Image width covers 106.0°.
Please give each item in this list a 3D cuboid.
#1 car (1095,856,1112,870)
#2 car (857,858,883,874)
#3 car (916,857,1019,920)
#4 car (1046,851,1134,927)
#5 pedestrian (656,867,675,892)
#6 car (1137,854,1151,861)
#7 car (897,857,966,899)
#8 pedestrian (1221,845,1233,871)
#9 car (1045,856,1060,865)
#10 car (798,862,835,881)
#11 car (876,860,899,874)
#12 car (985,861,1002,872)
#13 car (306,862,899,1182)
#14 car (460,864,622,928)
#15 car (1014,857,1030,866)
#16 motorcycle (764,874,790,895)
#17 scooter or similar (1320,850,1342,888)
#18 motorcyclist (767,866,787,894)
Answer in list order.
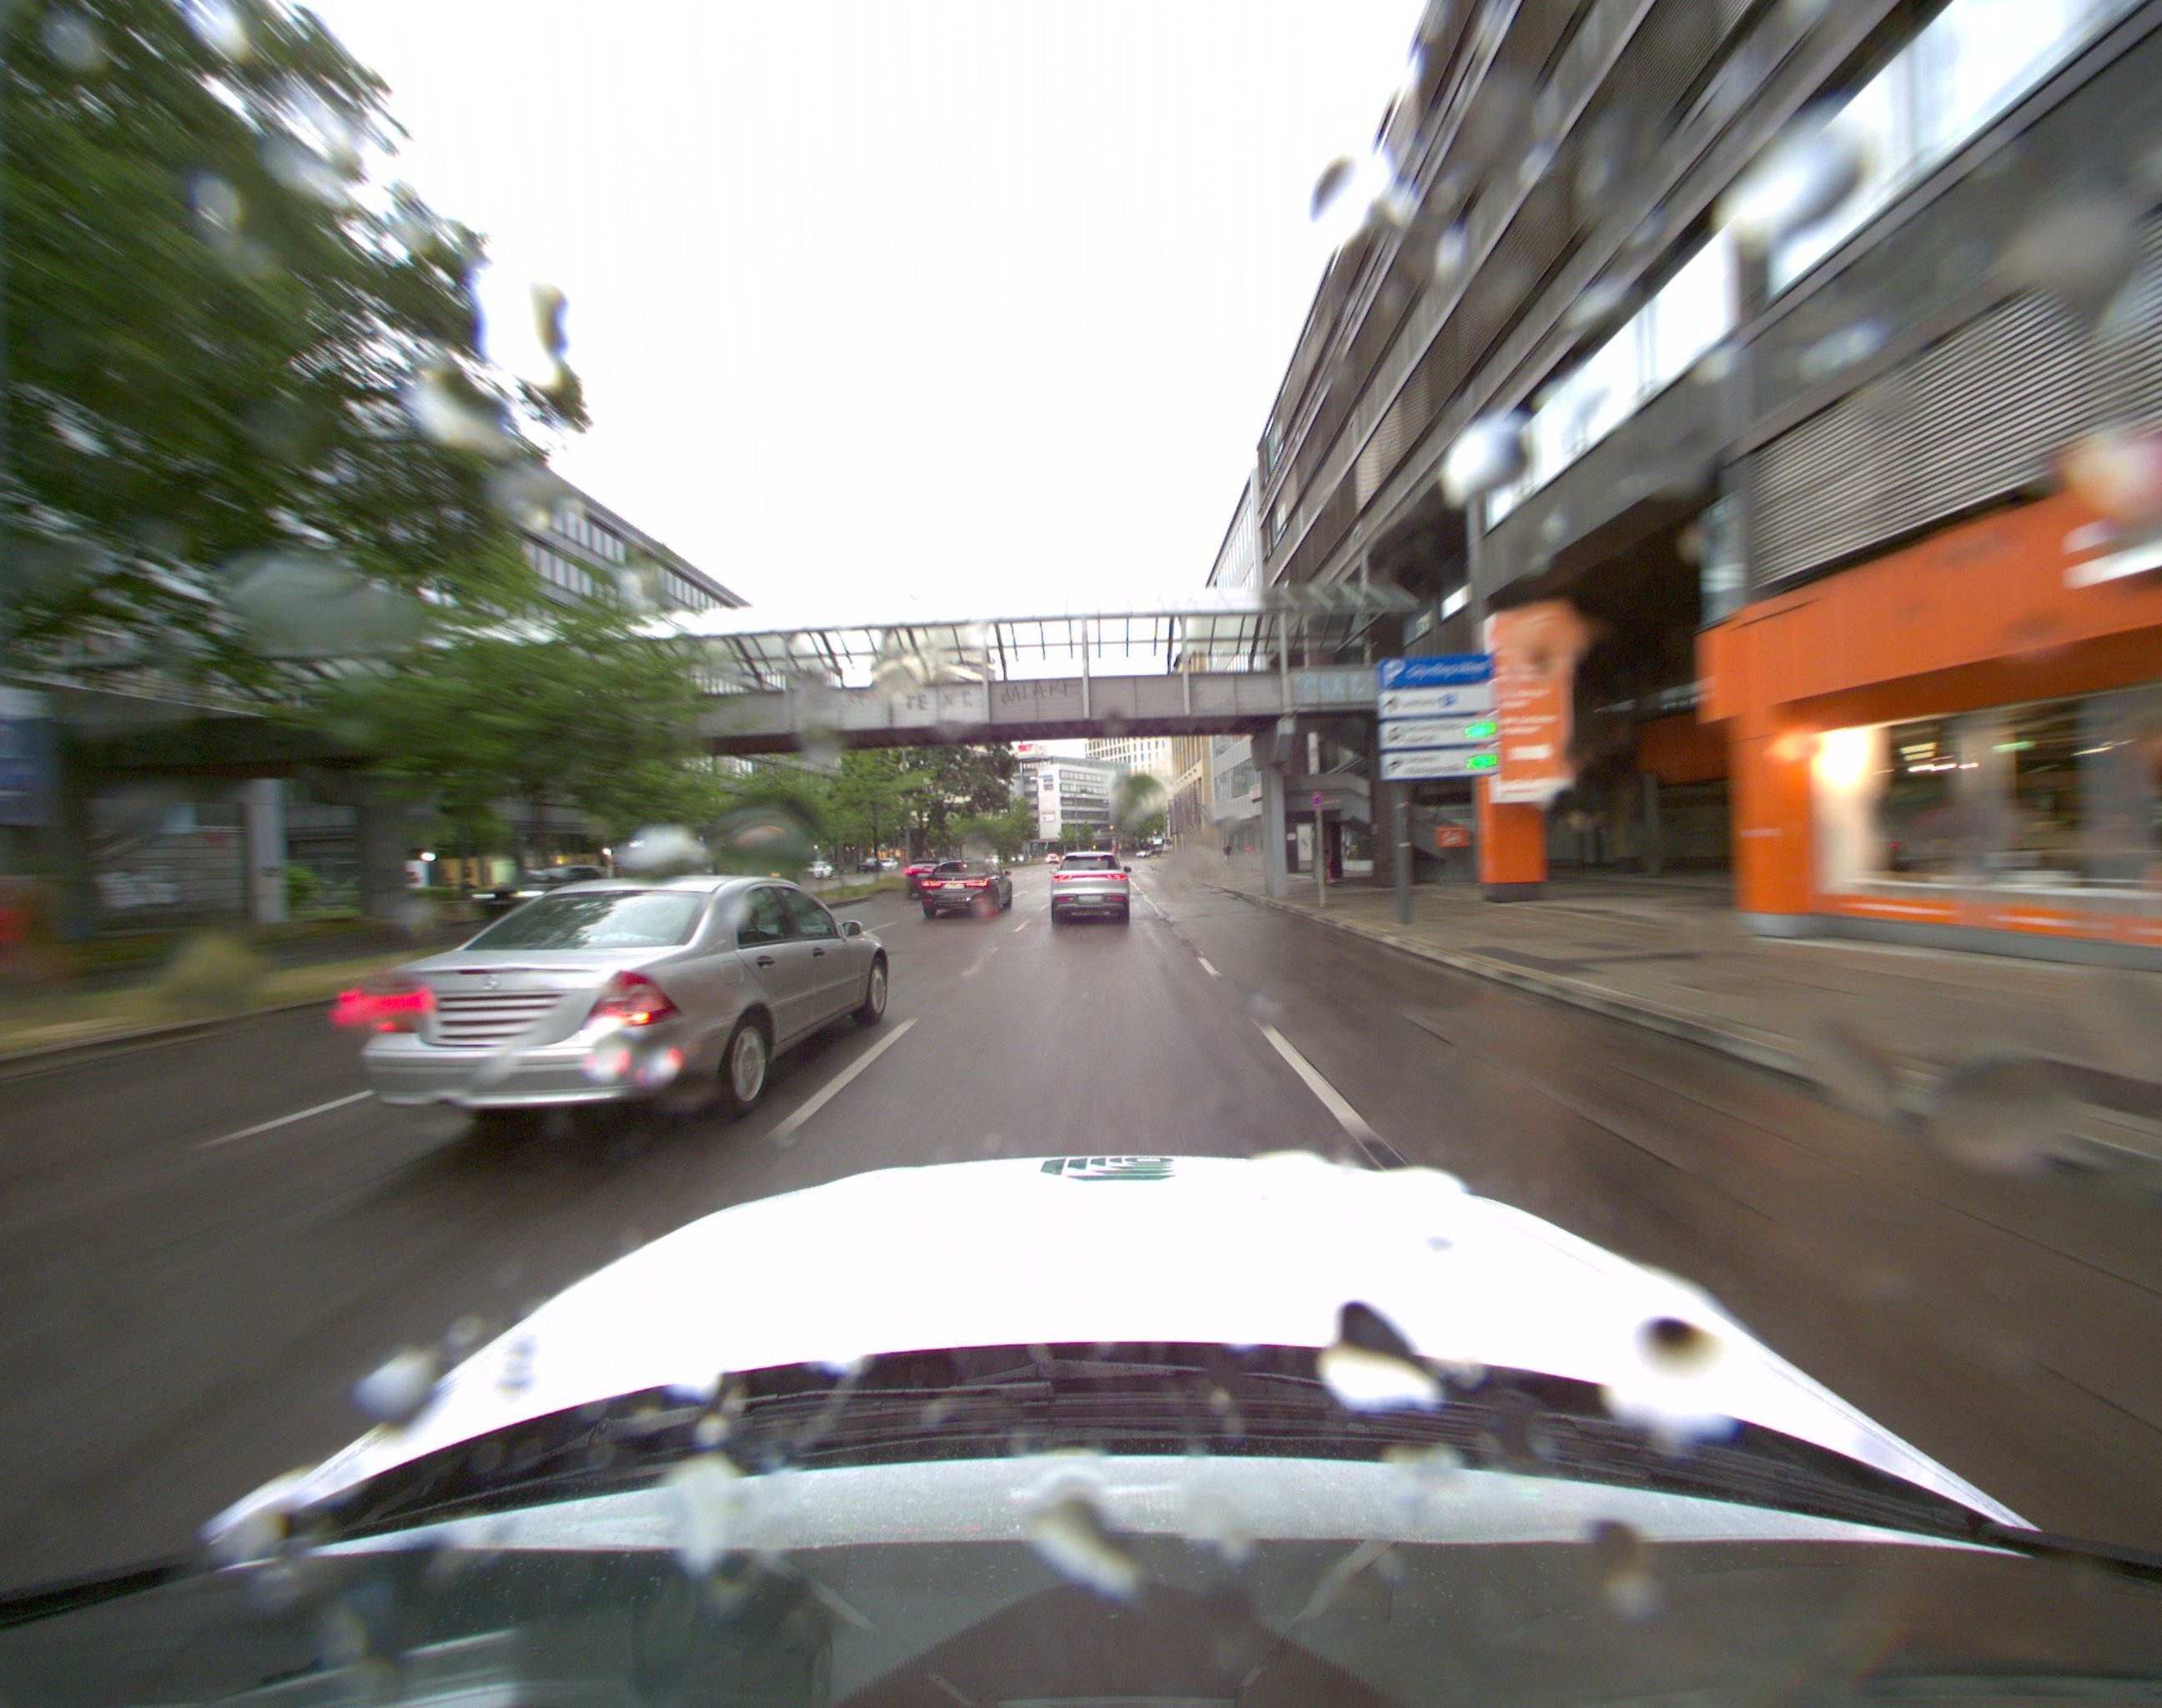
[{"bbox_3d":[2.844,1.123,101.297,1.803,1.578,4.006,-2,0,5],"label":"car"},{"bbox_3d":[-22.023,1.202,85.235,1.618,1.611,4.231,-1,0,0],"label":"car"},{"bbox_3d":[-2.987,0.901,22.504,1.864,1.479,4.881,-3,-1,3],"label":"car"},{"bbox_3d":[0.252,0.778,19.867,1.894,1.621,4.001,-1,0,1],"label":"car"},{"bbox_3d":[-29.387,1.777,57.616,0.740,1.715,1.057,-2,0,1],"label":"pedestrian"},{"bbox_3d":[14.612,0.769,189.920,1.565,1.538,4.025,-2,0,32],"label":"car"},{"bbox_3d":[-5.682,0.898,31.370,1.767,1.457,4.001,-2,-1,2],"label":"car"},{"bbox_3d":[10.068,0.305,56.226,0.633,1.772,0.790,-2,-1,2],"label":"pedestrian"},{"bbox_3d":[-4.274,0.946,123.079,1.654,1.342,3.985,-2,0,-11],"label":"car"},{"bbox_3d":[-22.275,1.464,68.697,1.618,1.432,4.444,-2,-1,0],"label":"car"},{"bbox_3d":[-21.768,1.437,91.612,1.618,1.460,3.962,-1,0,0],"label":"car"},{"bbox_3d":[-13.575,1.932,125.919,1.615,1.492,4.315,-2,-1,7],"label":"car"},{"bbox_3d":[-2.750,0.815,6.015,1.666,1.479,4.362,-1,-1,2],"label":"car"},{"bbox_3d":[-18.384,1.347,28.113,1.994,1.768,5.184,-5,0,-1],"label":"car"},{"bbox_3d":[-10.181,1.289,141.721,1.612,1.453,4.176,-2,-1,12],"label":"car"},{"bbox_3d":[-16.122,1.632,43.245,0.582,1.021,1.806,-2,0,2],"label":"motorcycle"},{"bbox_3d":[8.477,0.505,27.641,0.348,1.256,1.395,-2,0,2],"label":"scooter or similar"},{"bbox_3d":[-16.131,1.363,43.194,0.635,1.418,0.970,-2,-1,2],"label":"motorcyclist"}]
